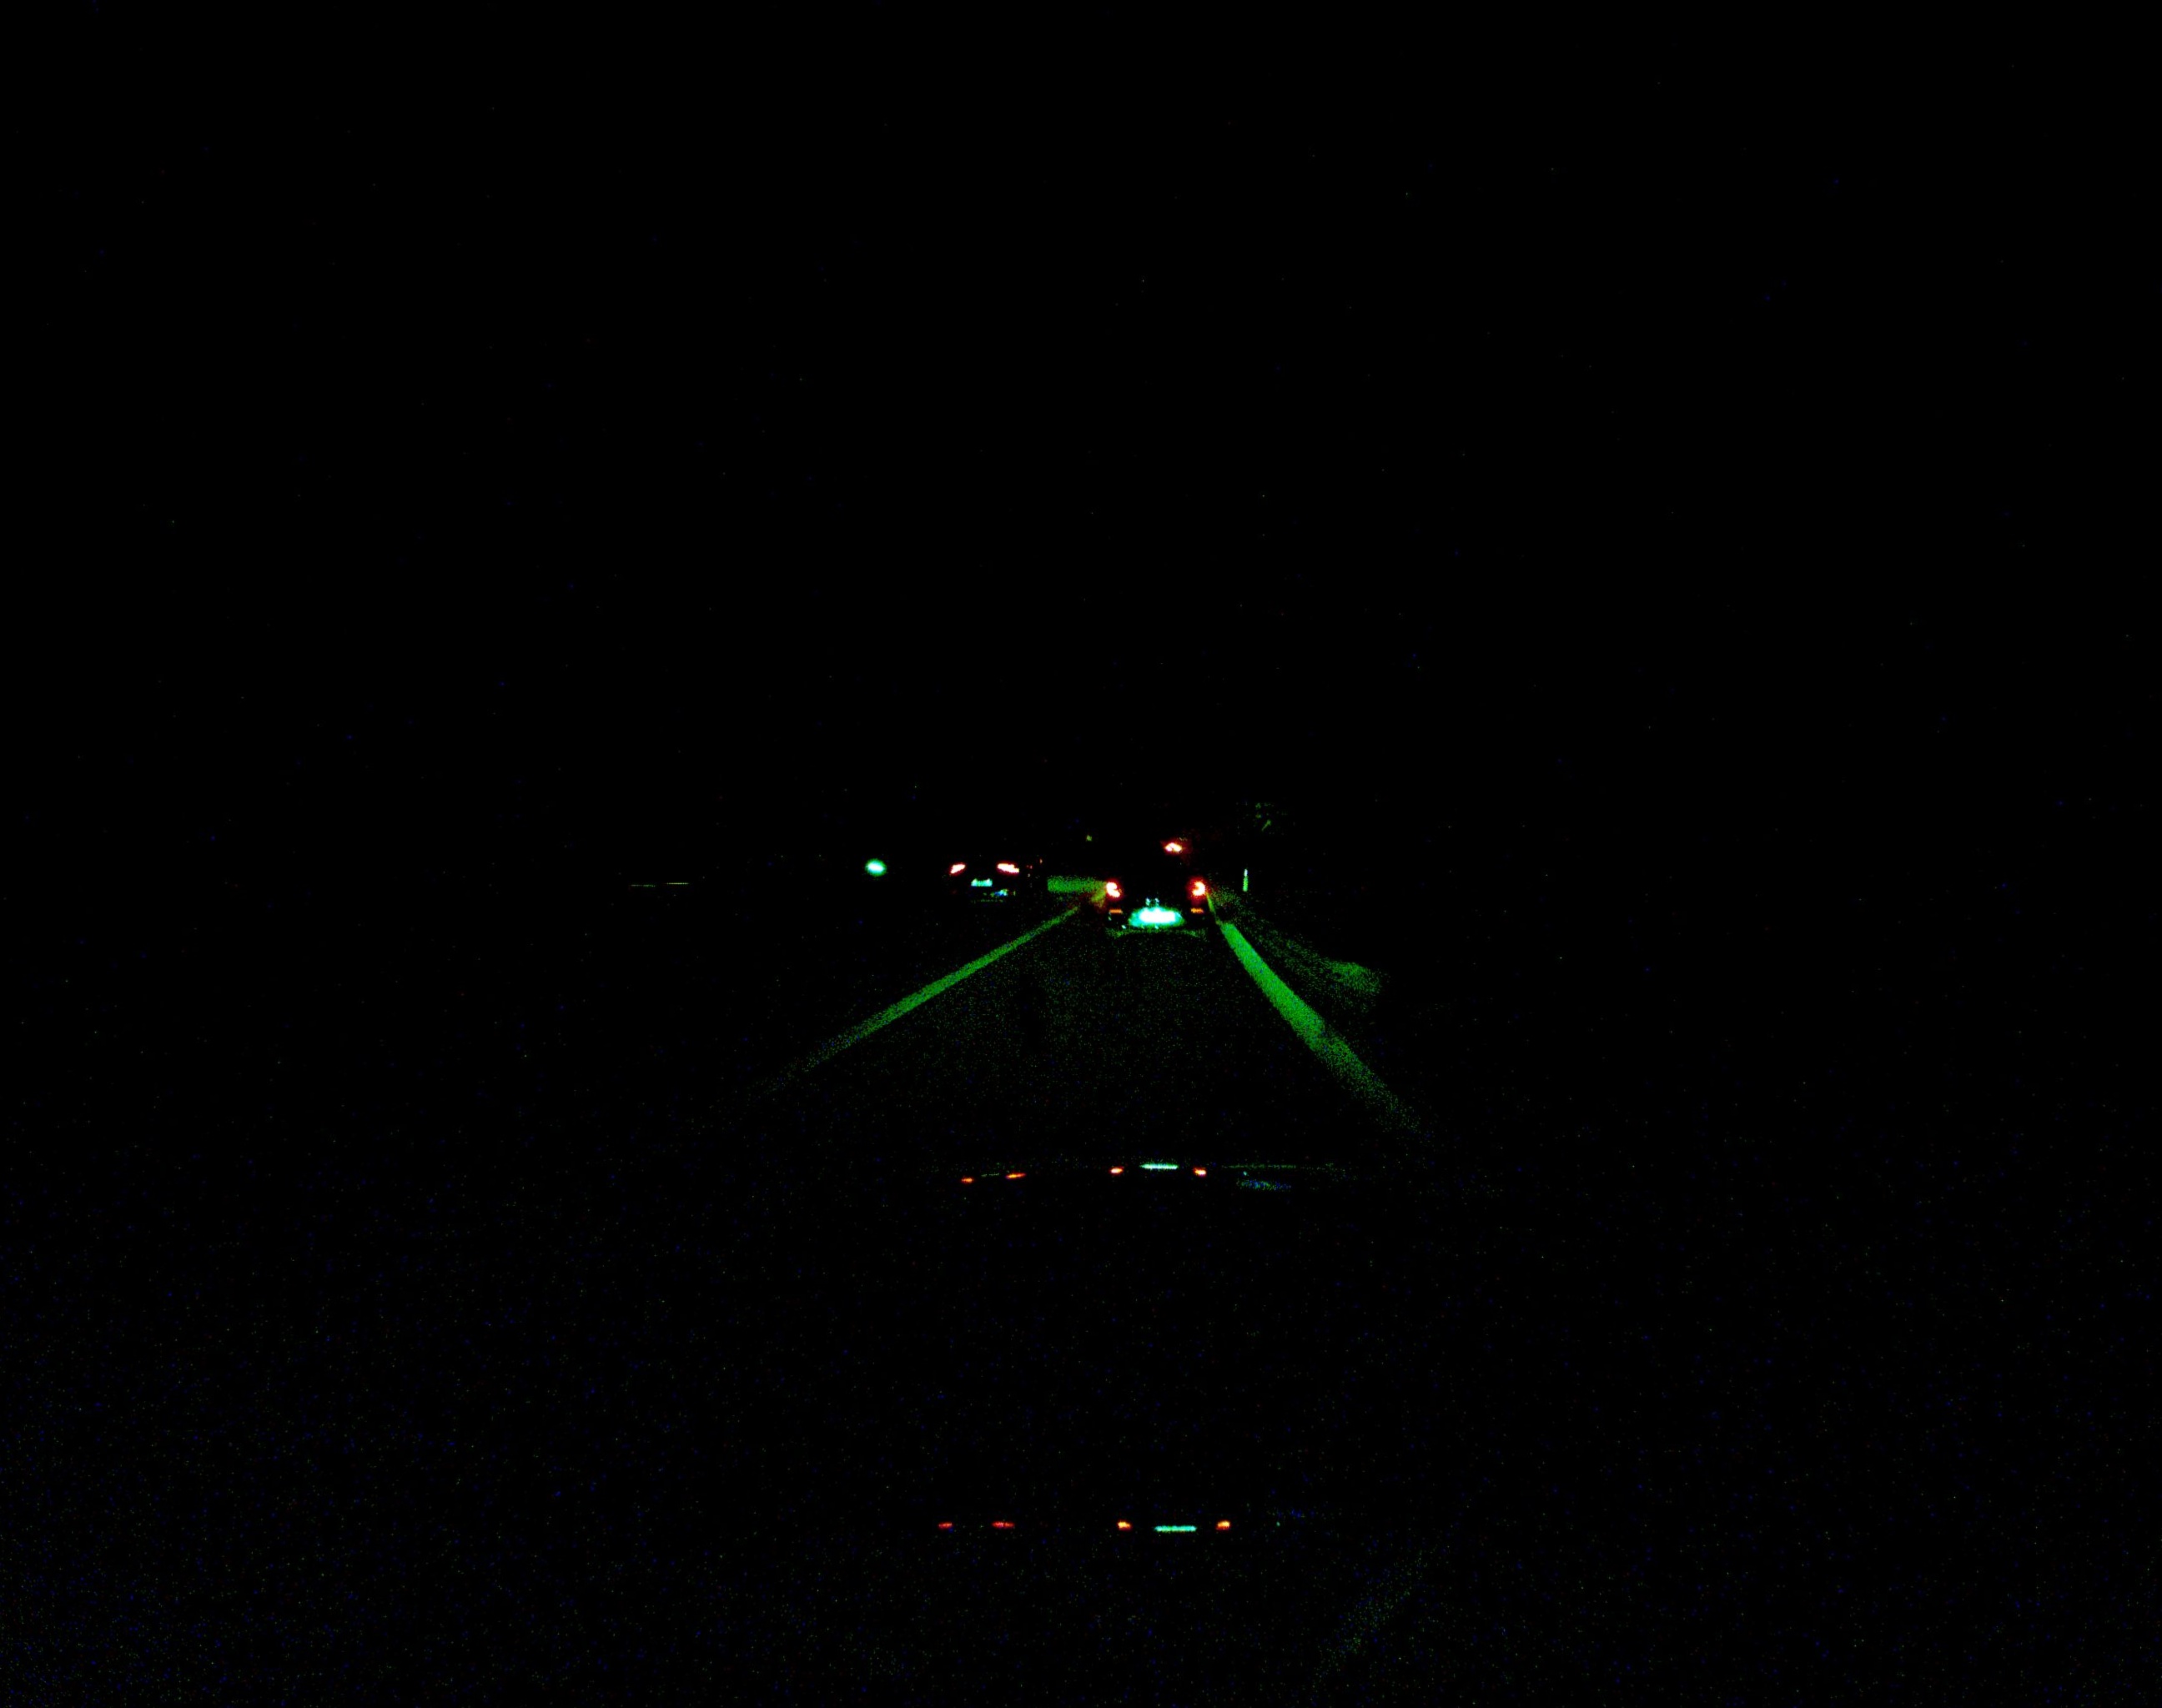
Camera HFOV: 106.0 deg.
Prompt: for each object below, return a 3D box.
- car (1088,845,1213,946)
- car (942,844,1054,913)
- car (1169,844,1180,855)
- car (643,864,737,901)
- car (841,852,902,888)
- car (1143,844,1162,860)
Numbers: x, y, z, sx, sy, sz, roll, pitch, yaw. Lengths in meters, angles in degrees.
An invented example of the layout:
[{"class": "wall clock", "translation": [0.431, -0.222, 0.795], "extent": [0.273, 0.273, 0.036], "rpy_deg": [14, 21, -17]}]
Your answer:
[{"class": "car", "translation": [1.043, 0.594, 13.985], "extent": [1.687, 1.477, 3.997], "rpy_deg": [0, 0, -2]}, {"class": "car", "translation": [-2.035, 0.569, 21.442], "extent": [1.930, 1.608, 4.653], "rpy_deg": [0, 0, 7]}, {"class": "car", "translation": [14.959, -0.754, 130.457], "extent": [1.725, 1.618, 3.805], "rpy_deg": [-1, 0, 6]}, {"class": "car", "translation": [-17.629, 1.253, 36.969], "extent": [1.983, 1.519, 4.007], "rpy_deg": [-1, -1, 6]}, {"class": "car", "translation": [-12.422, 0.897, 48.553], "extent": [1.983, 2.013, 4.617], "rpy_deg": [-1, 0, 6]}, {"class": "car", "translation": [8.220, -0.206, 92.818], "extent": [1.941, 1.538, 4.248], "rpy_deg": [-5, -2, 6]}]
